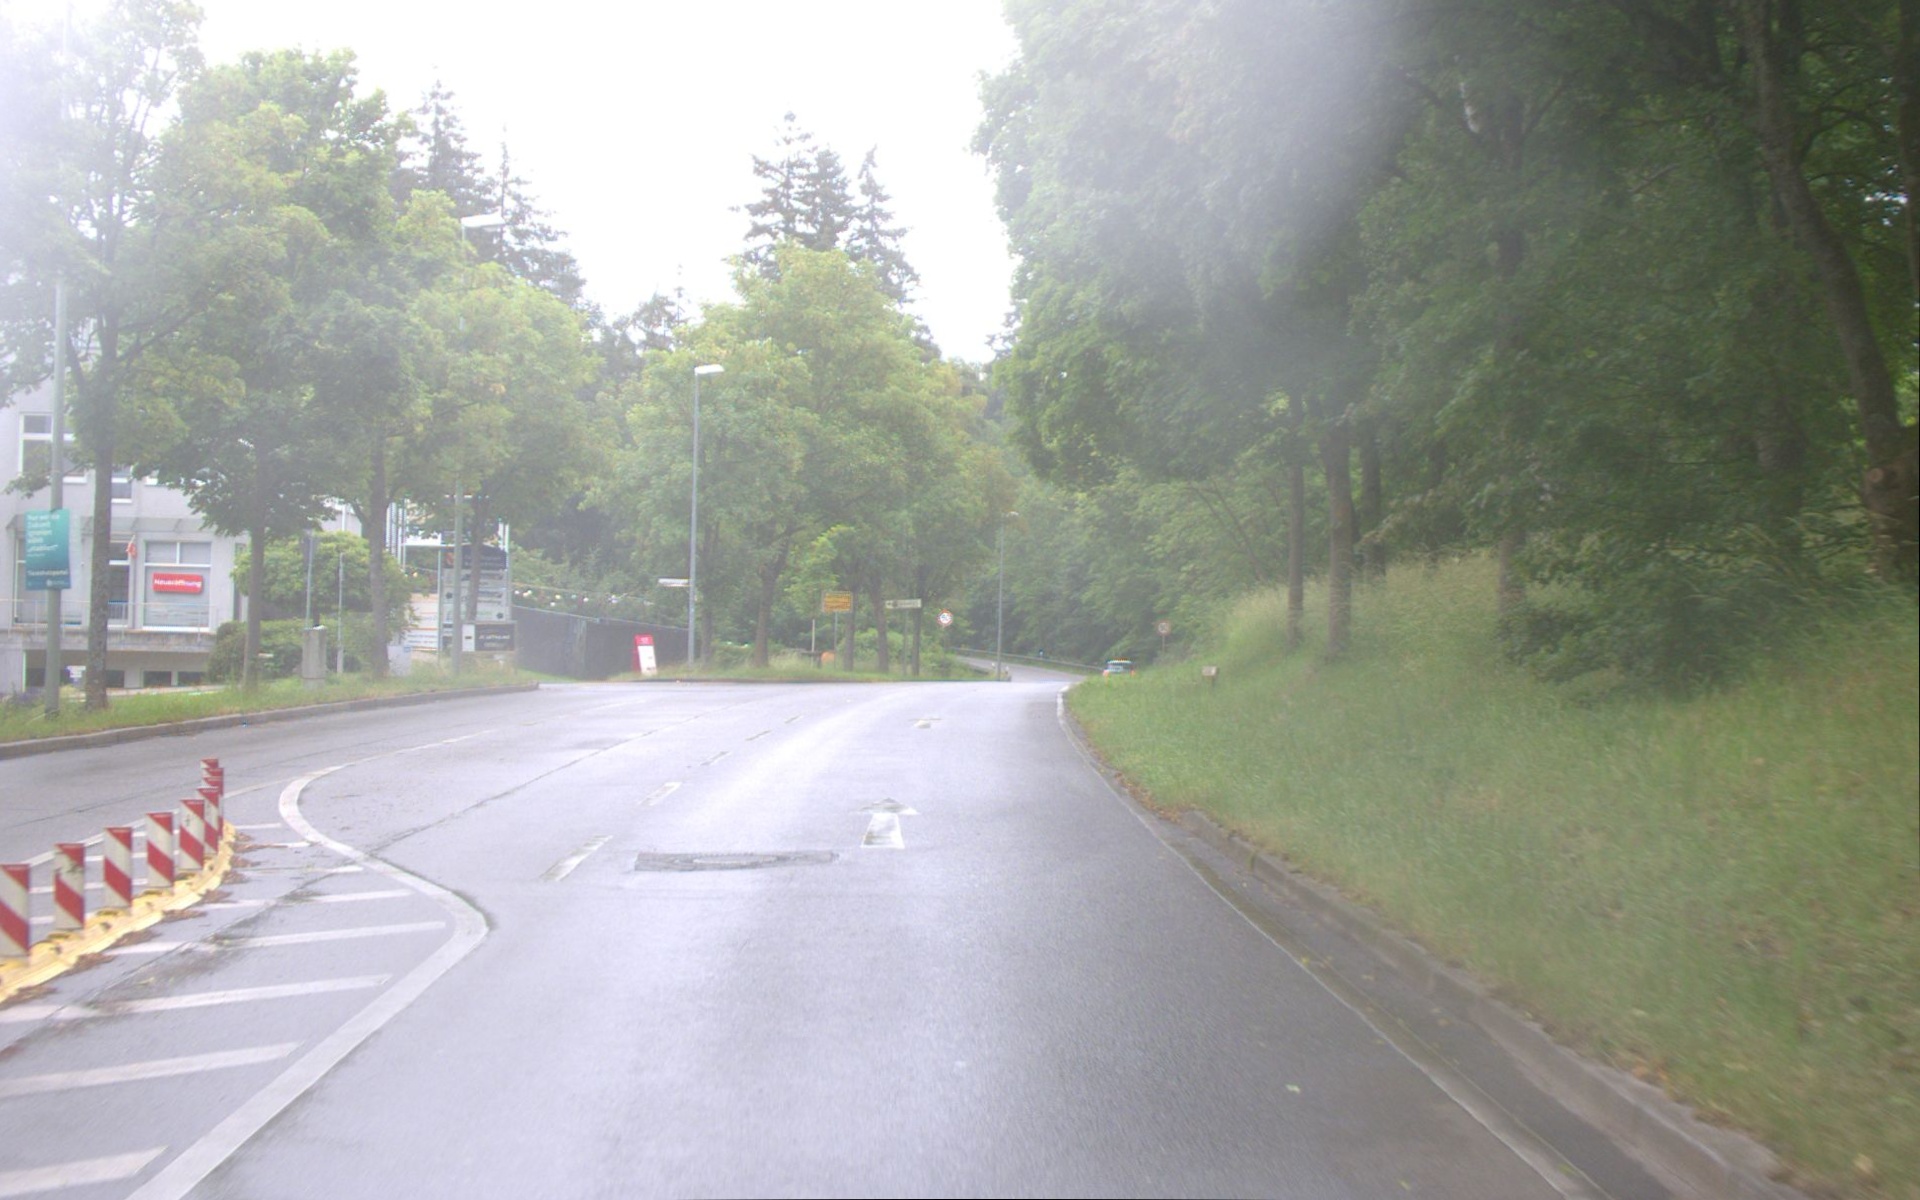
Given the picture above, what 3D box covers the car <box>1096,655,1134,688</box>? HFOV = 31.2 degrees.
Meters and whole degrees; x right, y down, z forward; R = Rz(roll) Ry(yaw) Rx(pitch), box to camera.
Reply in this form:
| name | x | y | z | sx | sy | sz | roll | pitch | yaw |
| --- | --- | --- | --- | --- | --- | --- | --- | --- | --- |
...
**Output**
| name | x | y | z | sx | sy | sz | roll | pitch | yaw |
| --- | --- | --- | --- | --- | --- | --- | --- | --- | --- |
| car | 7.281 | 3.355 | 162.031 | 1.737 | 1.505 | 3.999 | -1 | -1 | 2 |
